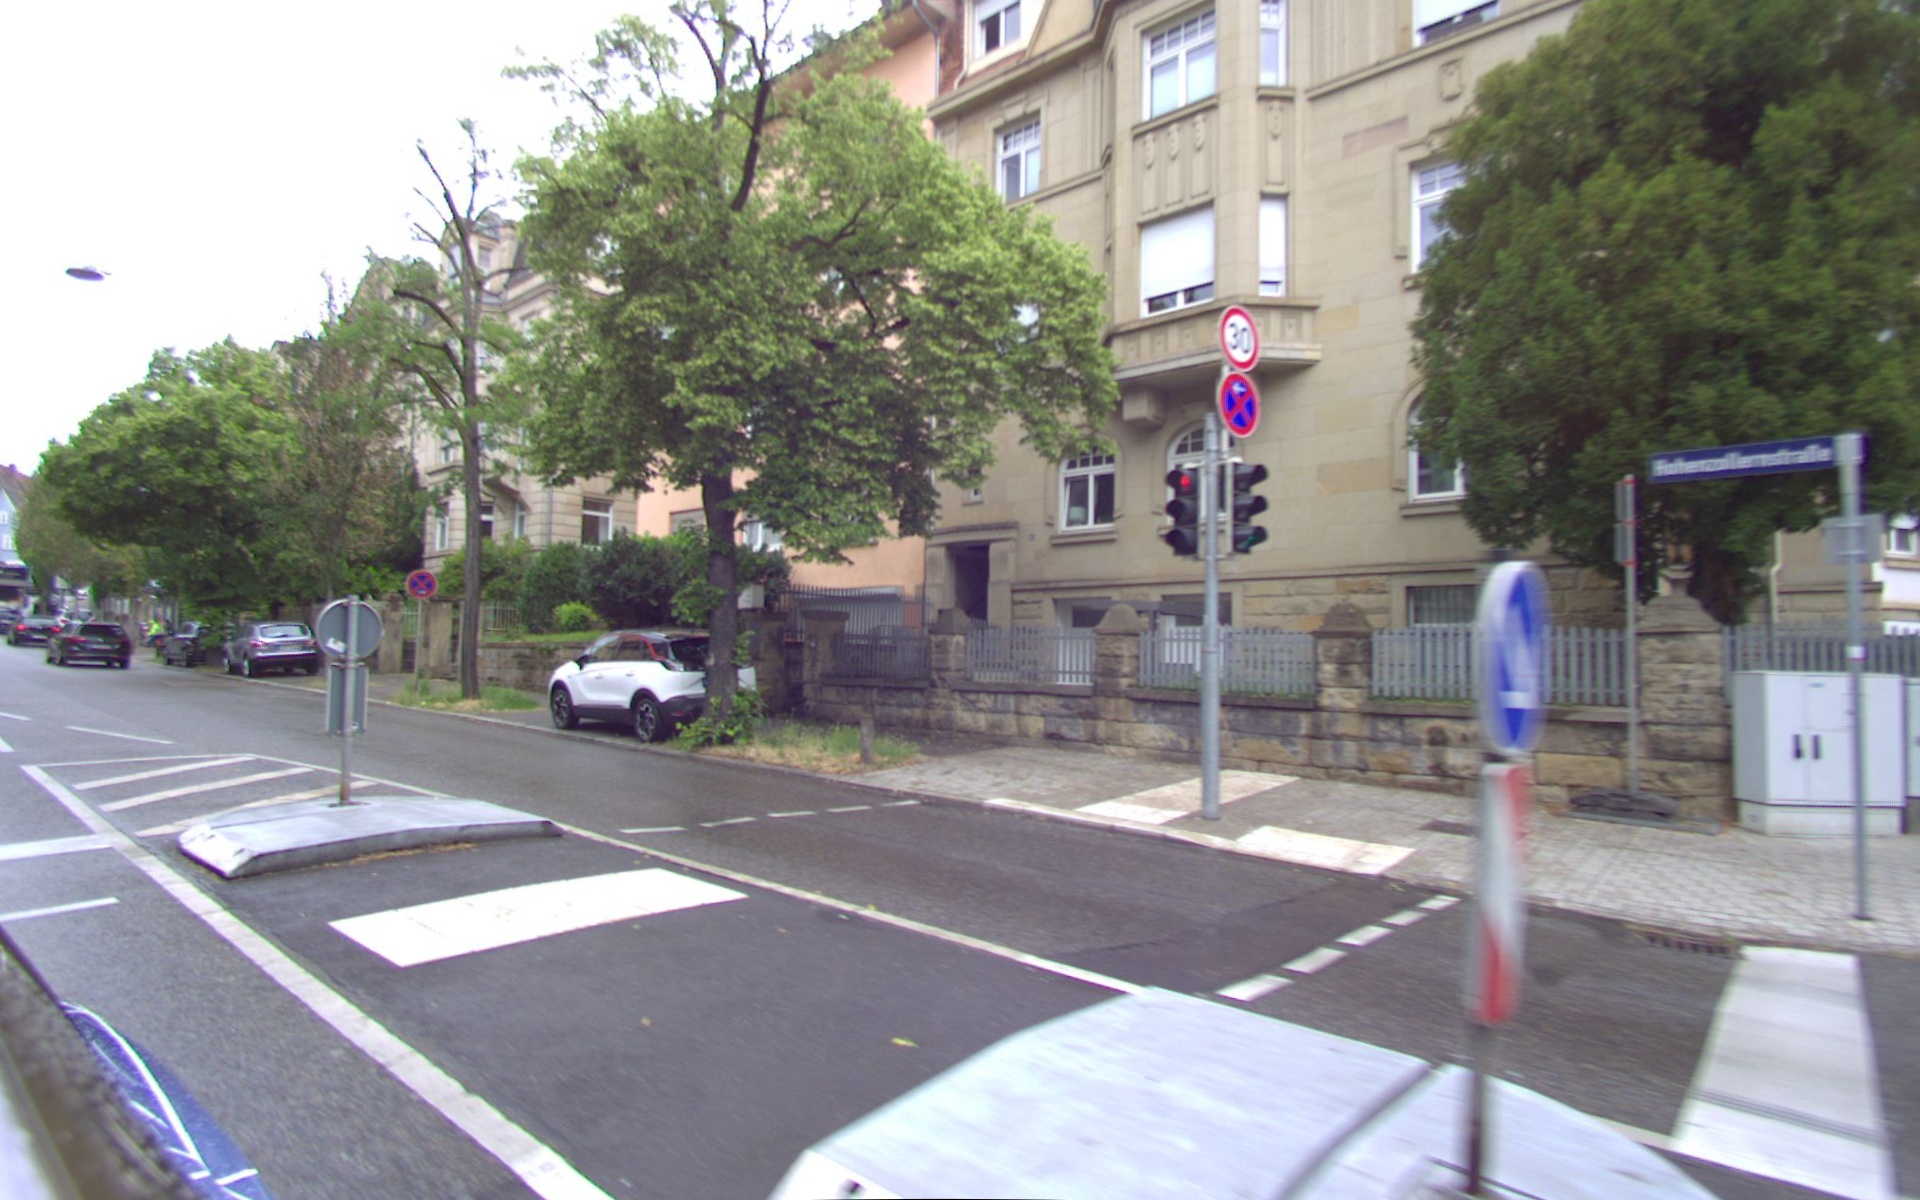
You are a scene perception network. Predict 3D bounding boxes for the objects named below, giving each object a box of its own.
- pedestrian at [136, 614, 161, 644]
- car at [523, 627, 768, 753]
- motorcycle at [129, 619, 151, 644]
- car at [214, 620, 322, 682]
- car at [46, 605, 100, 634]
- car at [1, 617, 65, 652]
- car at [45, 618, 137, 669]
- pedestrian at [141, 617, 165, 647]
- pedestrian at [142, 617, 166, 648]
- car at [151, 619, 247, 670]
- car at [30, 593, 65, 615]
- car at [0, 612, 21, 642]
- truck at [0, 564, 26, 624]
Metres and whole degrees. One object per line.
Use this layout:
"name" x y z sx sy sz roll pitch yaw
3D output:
"pedestrian" -40.362 1.434 50.330 0.759 1.443 0.758 1 -3 43
"car" -5.018 1.283 15.834 4.302 1.571 1.722 1 -1 43
"motorcycle" -43.578 1.650 53.775 0.648 1.246 1.764 5 -3 -44
"car" -20.714 1.470 30.247 4.302 1.571 1.722 1 -1 43
"car" -51.833 1.113 59.105 4.299 1.571 1.723 1 -1 40
"car" -43.921 1.613 47.927 4.589 1.529 1.753 0 -3 42
"car" -28.500 1.409 33.148 4.550 1.529 1.795 -1 -6 44
"pedestrian" -39.777 1.567 49.861 0.650 1.443 0.757 1 -3 44
"pedestrian" -39.405 1.585 49.480 0.650 1.443 0.757 1 -3 44
"car" -26.831 1.517 35.632 4.298 1.571 1.724 1 0 40
"car" -69.789 0.289 77.391 1.972 1.607 3.832 0 1 -43
"car" -55.621 1.509 58.256 4.747 1.478 1.753 2 -3 42
"truck" -66.764 -0.461 70.095 2.617 3.884 9.315 7 -5 -43
